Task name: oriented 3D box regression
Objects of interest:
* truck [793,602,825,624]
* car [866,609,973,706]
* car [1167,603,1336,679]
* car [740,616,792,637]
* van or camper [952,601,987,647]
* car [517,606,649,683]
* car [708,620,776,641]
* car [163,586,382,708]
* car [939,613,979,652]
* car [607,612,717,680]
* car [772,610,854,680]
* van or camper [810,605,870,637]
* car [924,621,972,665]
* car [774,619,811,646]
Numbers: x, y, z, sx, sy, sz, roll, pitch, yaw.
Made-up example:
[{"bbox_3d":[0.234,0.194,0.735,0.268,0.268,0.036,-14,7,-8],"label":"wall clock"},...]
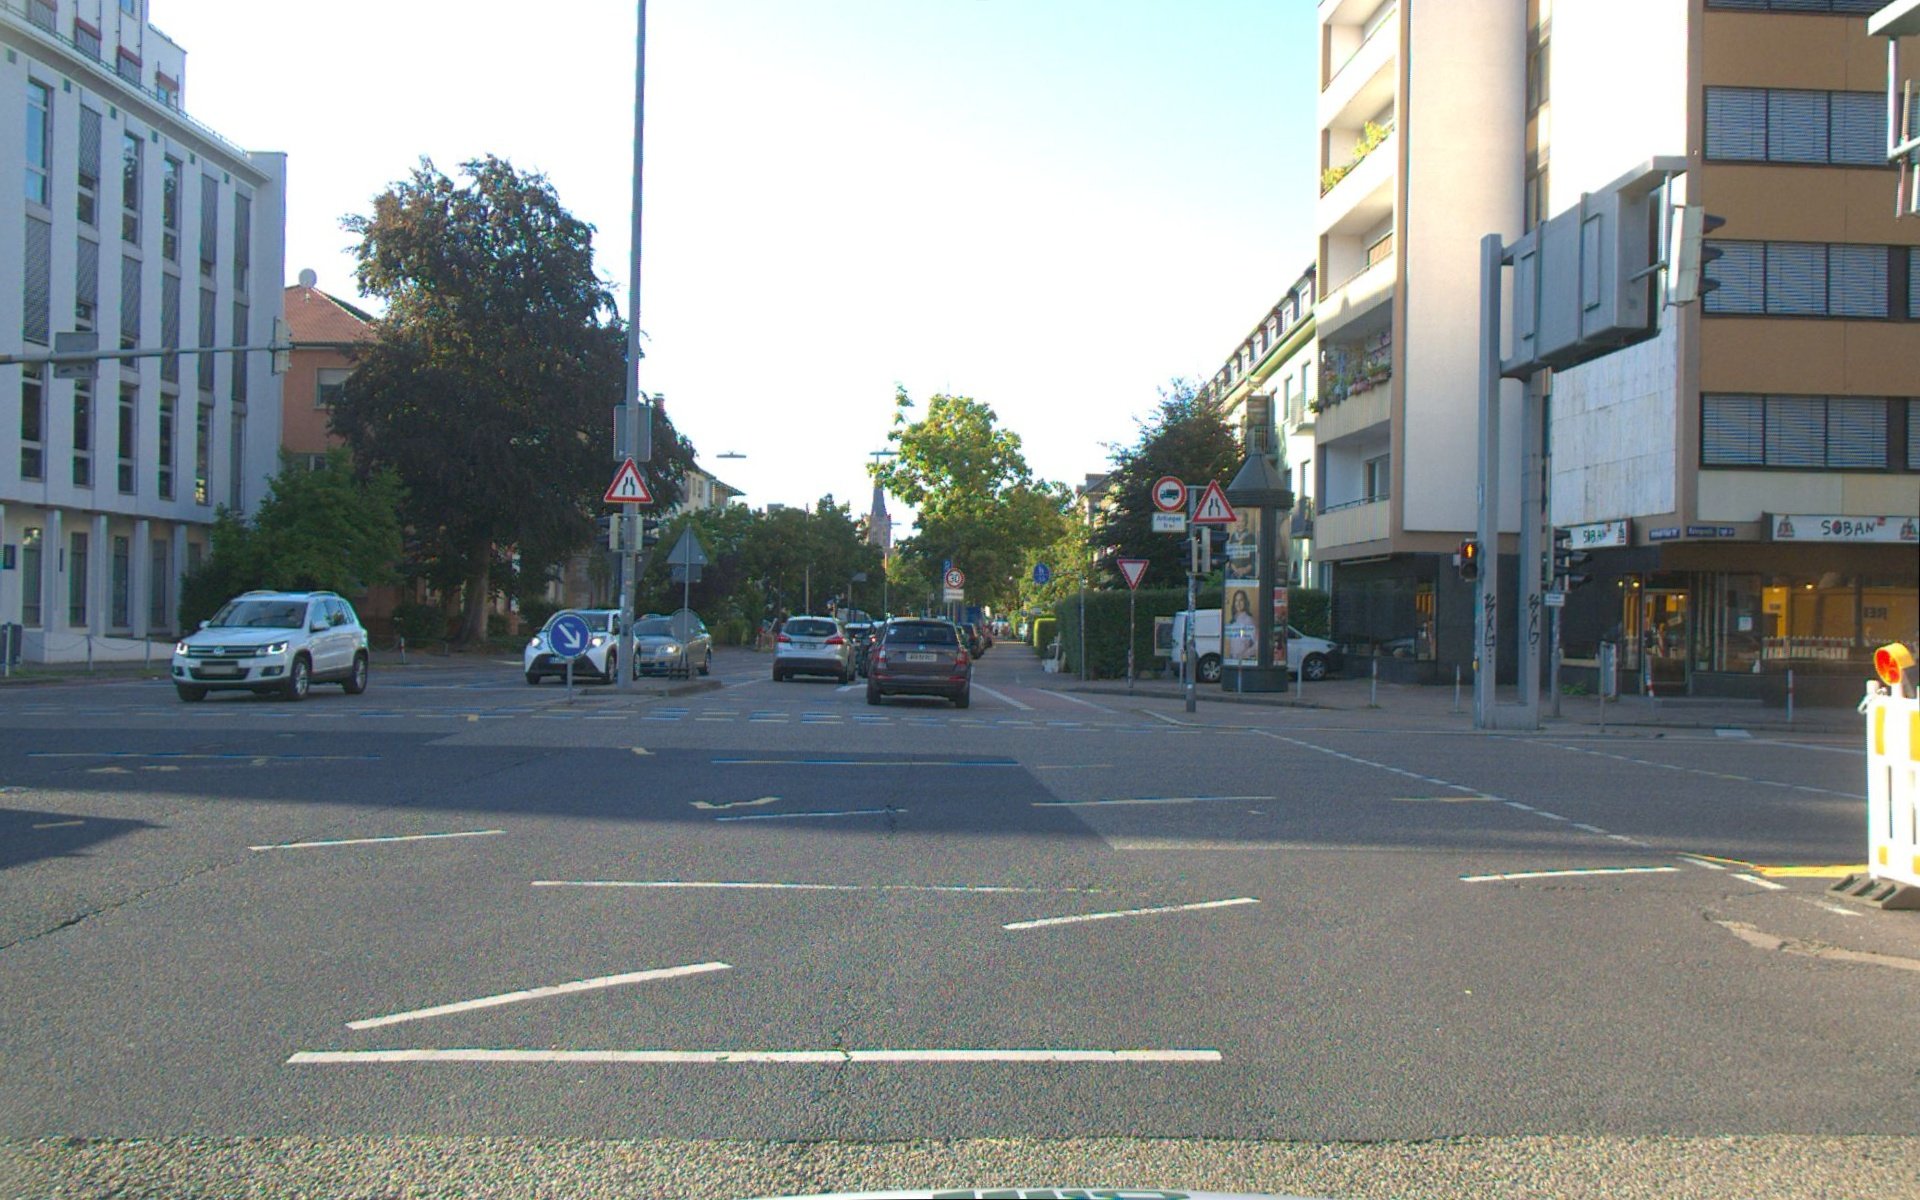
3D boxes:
[{"bbox_3d":[-14.665,1.251,160.519,2.853,2.130,1.546,1,0,1],"label":"truck"},{"bbox_3d":[-0.731,0.937,28.422,1.695,1.520,3.948,1,0,-3],"label":"car"},{"bbox_3d":[7.470,1.035,42.636,4.005,1.846,1.861,1,0,-2],"label":"car"},{"bbox_3d":[-15.406,2.117,131.403,3.907,1.505,1.999,2,0,-3],"label":"car"},{"bbox_3d":[0.641,1.513,103.179,2.025,2.722,5.990,1,-1,1],"label":"van or camper"},{"bbox_3d":[-7.795,0.893,34.524,1.790,1.486,3.902,1,0,1],"label":"car"},{"bbox_3d":[-15.402,2.146,116.994,4.627,1.386,1.994,1,0,-12],"label":"car"},{"bbox_3d":[-10.740,0.686,26.201,1.791,1.736,4.438,1,0,-3],"label":"car"},{"bbox_3d":[-0.030,1.453,75.875,1.696,1.680,4.291,1,0,1],"label":"car"},{"bbox_3d":[-7.226,1.082,40.558,1.790,1.541,4.604,1,0,1],"label":"car"},{"bbox_3d":[-3.404,1.016,38.852,1.695,1.520,3.948,1,0,-3],"label":"car"},{"bbox_3d":[-15.243,2.651,210.250,7.484,3.942,2.000,1,-1,-1],"label":"van or camper"},{"bbox_3d":[-0.412,1.607,62.648,1.696,1.578,3.646,1,0,1],"label":"car"},{"bbox_3d":[-10.063,1.937,99.622,1.714,1.529,4.197,1,0,1],"label":"car"}]
